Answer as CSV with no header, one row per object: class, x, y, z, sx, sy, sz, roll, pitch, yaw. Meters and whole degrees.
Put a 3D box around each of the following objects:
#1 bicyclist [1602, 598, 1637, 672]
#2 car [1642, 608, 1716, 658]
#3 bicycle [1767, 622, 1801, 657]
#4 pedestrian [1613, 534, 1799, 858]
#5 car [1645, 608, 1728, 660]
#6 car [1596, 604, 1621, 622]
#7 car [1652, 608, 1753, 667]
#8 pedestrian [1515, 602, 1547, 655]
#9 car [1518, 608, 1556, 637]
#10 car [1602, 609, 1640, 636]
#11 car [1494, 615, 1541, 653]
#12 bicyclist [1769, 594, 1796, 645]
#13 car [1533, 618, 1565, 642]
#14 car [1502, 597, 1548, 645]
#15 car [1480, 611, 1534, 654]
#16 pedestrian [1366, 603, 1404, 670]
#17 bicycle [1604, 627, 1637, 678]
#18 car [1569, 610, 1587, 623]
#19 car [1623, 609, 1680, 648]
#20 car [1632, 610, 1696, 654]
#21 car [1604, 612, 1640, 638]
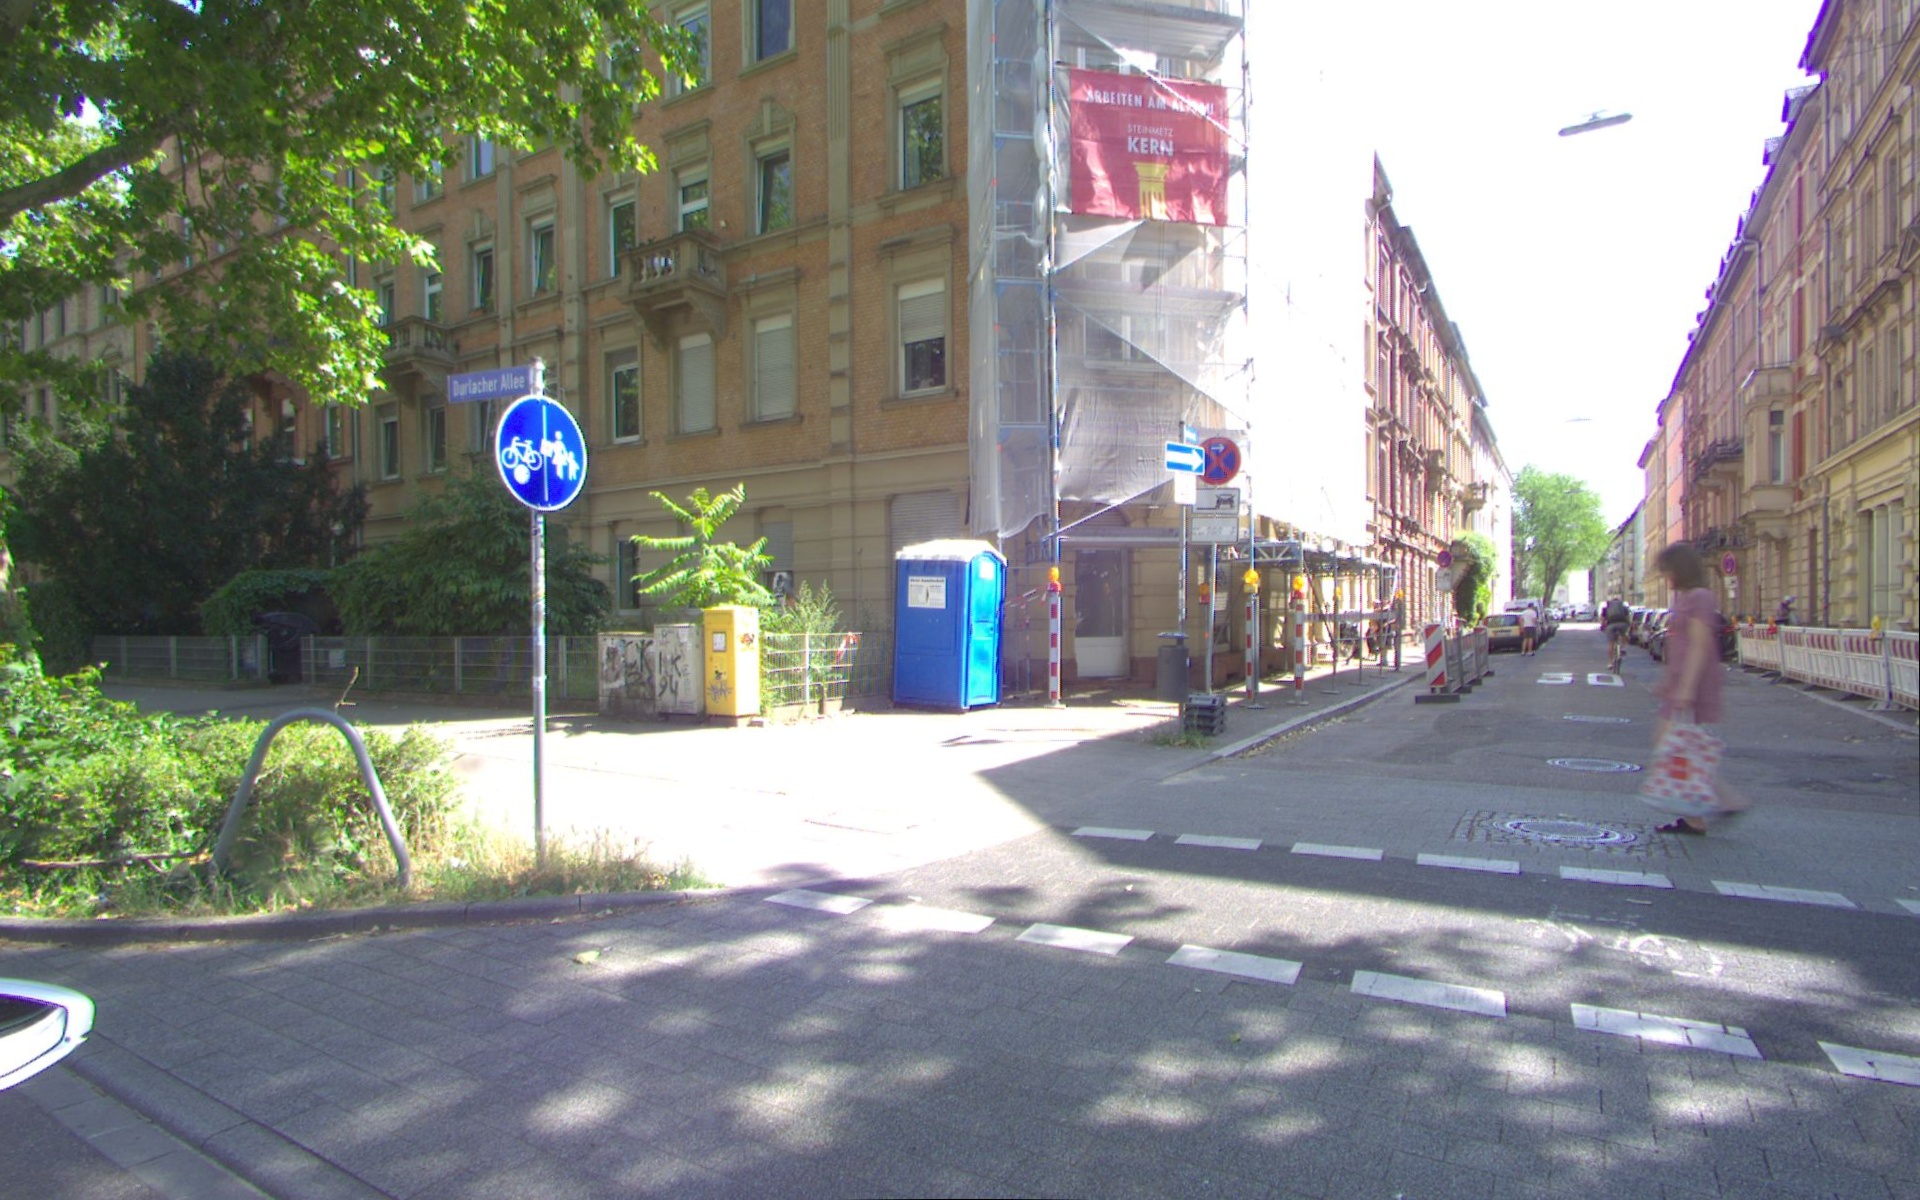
bicyclist,14.832,0.778,22.541,0.615,1.644,0.691,0,0,31
car,27.305,1.218,38.123,1.971,1.761,3.980,-1,-1,31
bicycle,24.384,1.167,29.655,0.530,0.991,1.304,0,-1,28
pedestrian,4.518,0.544,6.129,0.840,1.809,0.734,0,0,32
car,24.633,1.121,34.087,1.971,1.661,3.980,-1,-1,31
car,65.018,1.320,100.402,1.971,1.761,3.980,-1,-1,31
car,21.299,1.035,28.869,1.971,1.572,3.980,-1,-1,31
pedestrian,19.811,0.989,34.760,0.922,1.822,1.034,-1,0,29
car,35.960,1.393,62.378,1.887,1.732,4.139,-1,-1,33
car,44.642,1.476,67.704,1.971,1.761,3.980,-1,-1,31
car,24.192,1.452,43.425,1.702,1.549,3.479,-1,-1,30
bicyclist,24.410,0.580,29.710,0.525,1.472,0.459,0,0,29
car,43.964,2.229,74.760,1.887,1.732,4.139,-1,-1,33
car,29.903,1.089,52.933,1.887,2.405,4.224,-1,-1,33
car,21.165,1.219,38.698,1.702,1.549,3.479,-1,-1,31
pedestrian,11.361,0.963,26.786,0.843,1.748,0.834,-1,0,19
bicycle,14.842,1.159,22.534,0.525,1.062,1.917,-1,-1,31
car,84.303,2.230,136.602,1.971,1.761,3.980,-1,-1,31
car,33.110,1.337,48.037,1.971,1.761,3.980,-1,-1,31
car,30.086,1.338,42.913,1.971,1.761,3.980,-1,-1,31
car,47.482,1.763,71.868,1.971,1.761,3.980,-1,-1,31
